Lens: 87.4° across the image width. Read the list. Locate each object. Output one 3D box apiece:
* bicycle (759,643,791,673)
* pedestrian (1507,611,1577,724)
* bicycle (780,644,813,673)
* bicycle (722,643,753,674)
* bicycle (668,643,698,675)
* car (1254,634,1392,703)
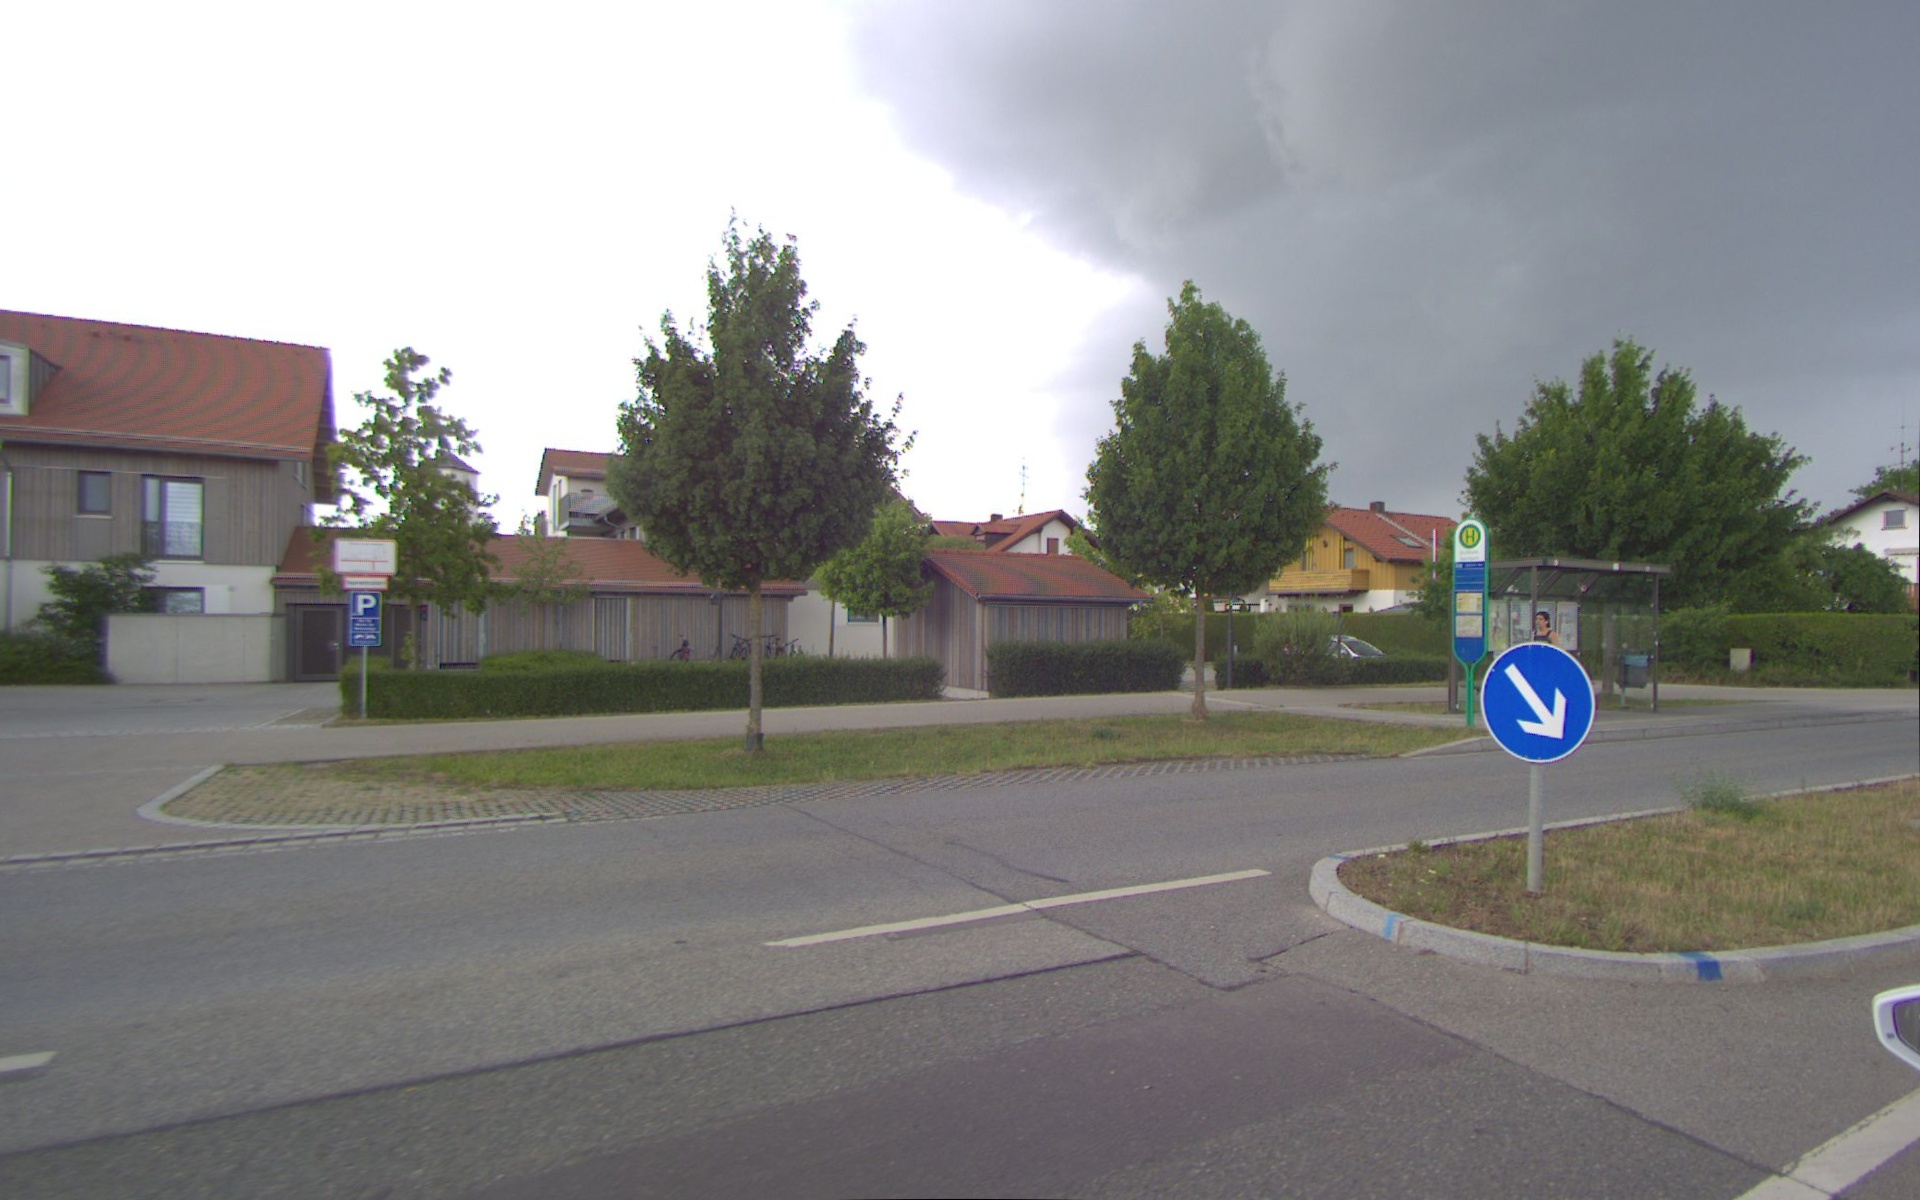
[{"bbox_3d":[-6.205,1.936,33.571,0.414,0.921,1.932,1,-1,-31],"label":"bicycle"},{"bbox_3d":[8.825,0.998,15.230,0.803,1.658,0.585,1,-1,-30],"label":"pedestrian"},{"bbox_3d":[-5.525,1.964,33.951,0.414,0.921,1.932,1,-1,-31],"label":"bicycle"},{"bbox_3d":[-7.302,1.892,32.919,0.414,0.921,1.932,1,-1,-31],"label":"bicycle"},{"bbox_3d":[-8.818,1.858,31.981,0.414,0.921,1.932,1,-1,-31],"label":"bicycle"},{"bbox_3d":[11.978,2.204,33.399,1.977,2.040,3.966,1,-1,-31],"label":"car"}]
